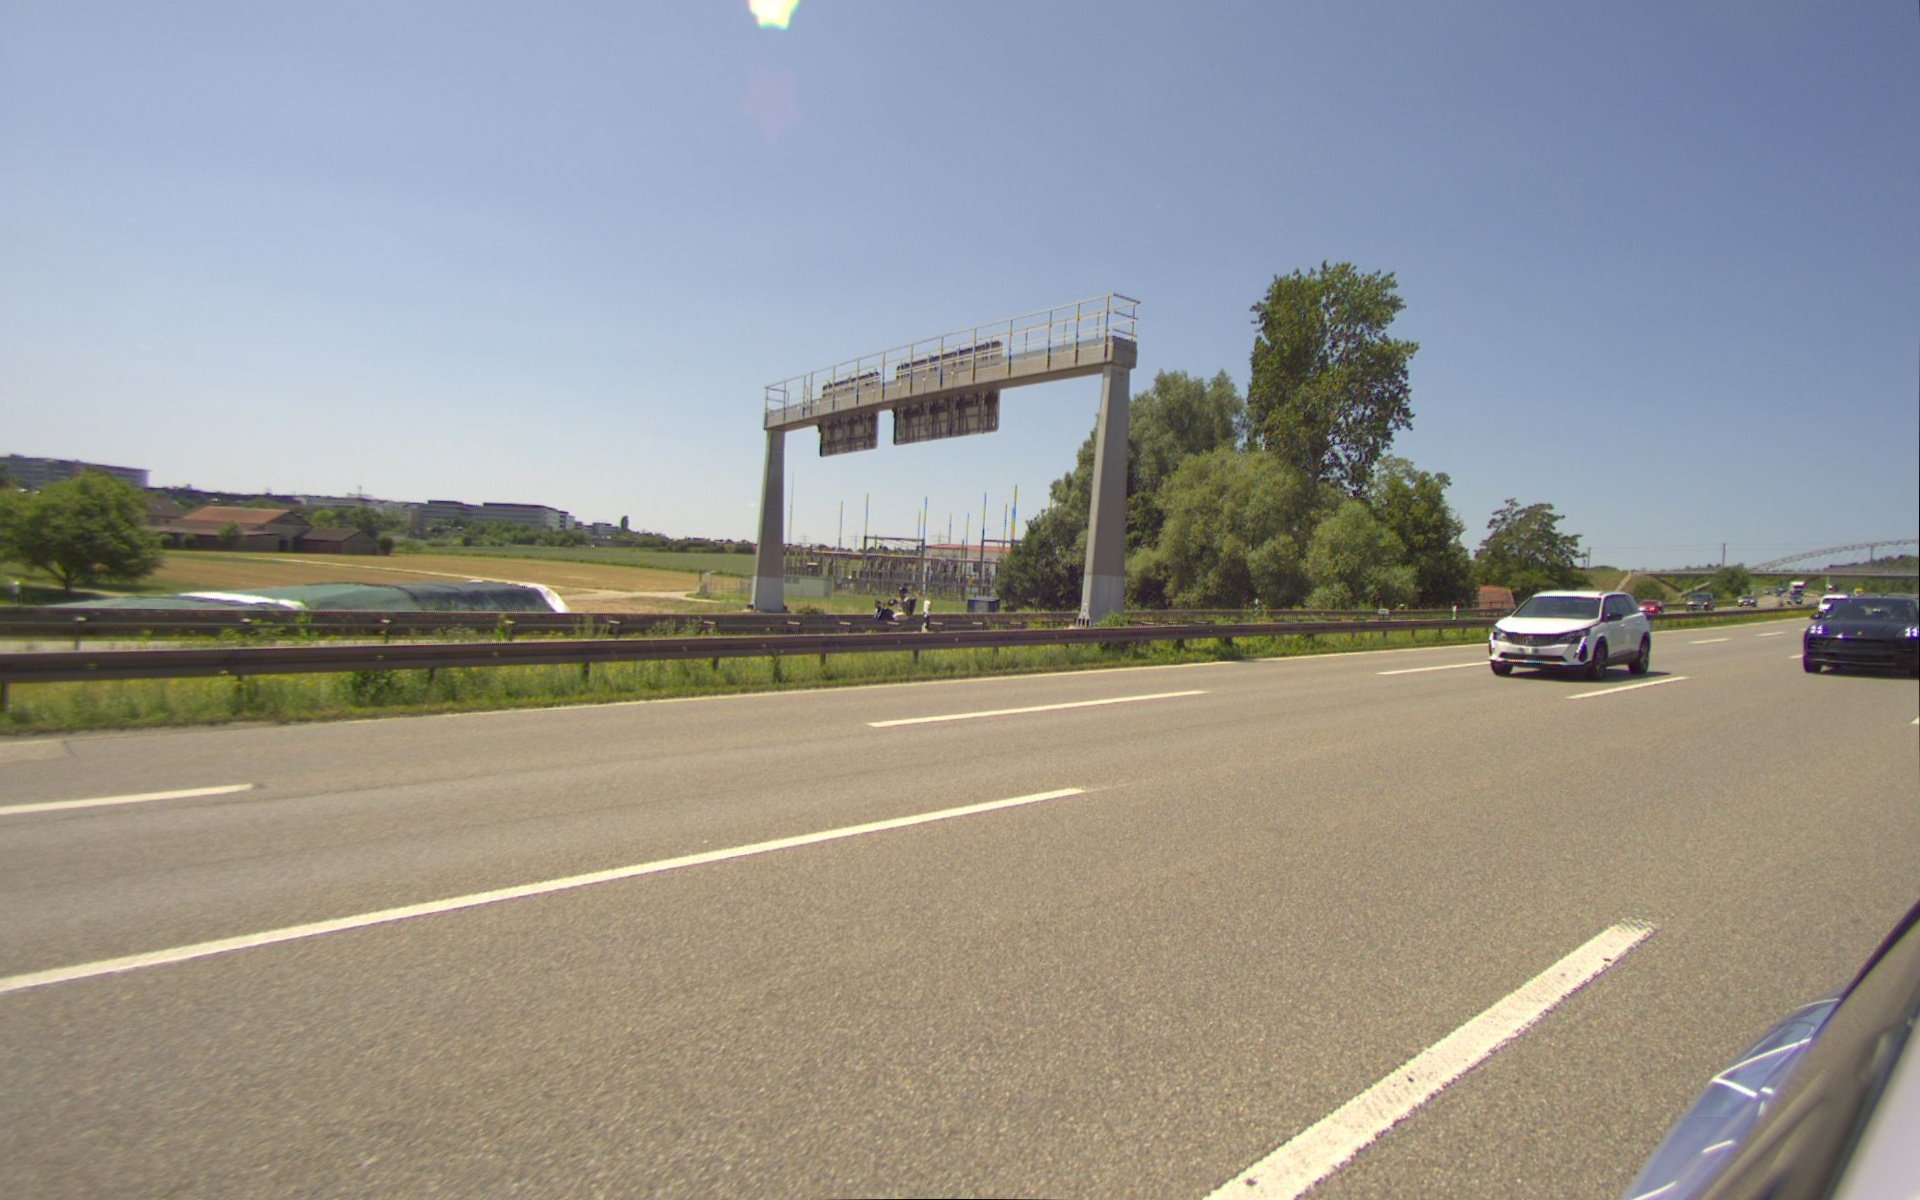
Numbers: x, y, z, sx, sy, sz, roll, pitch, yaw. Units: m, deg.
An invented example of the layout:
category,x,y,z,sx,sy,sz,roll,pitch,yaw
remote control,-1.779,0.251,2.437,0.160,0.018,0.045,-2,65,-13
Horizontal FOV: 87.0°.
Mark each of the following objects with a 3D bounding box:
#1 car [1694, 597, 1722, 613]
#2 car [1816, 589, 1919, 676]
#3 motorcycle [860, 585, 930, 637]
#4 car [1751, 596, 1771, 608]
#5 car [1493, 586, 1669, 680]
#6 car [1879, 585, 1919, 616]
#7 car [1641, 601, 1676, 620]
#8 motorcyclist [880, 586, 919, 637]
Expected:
category,x,y,z,sx,sy,sz,roll,pitch,yaw
car,81.286,0.534,109.936,4.058,1.594,1.702,-1,1,-43
car,19.421,0.604,21.195,4.064,1.615,1.928,-1,1,-45
motorcycle,-1.795,0.274,28.116,1.836,1.383,0.761,-1,1,-40
car,110.334,0.209,139.457,1.700,1.594,4.061,1,1,45
car,12.156,0.537,19.688,4.541,1.611,1.746,-1,1,-42
car,60.428,0.009,64.880,4.221,1.943,1.807,-1,1,-42
car,61.703,0.905,89.353,4.058,1.594,1.702,-1,1,-43
motorcyclist,-1.677,0.307,28.187,0.862,1.383,0.670,0,1,-38
